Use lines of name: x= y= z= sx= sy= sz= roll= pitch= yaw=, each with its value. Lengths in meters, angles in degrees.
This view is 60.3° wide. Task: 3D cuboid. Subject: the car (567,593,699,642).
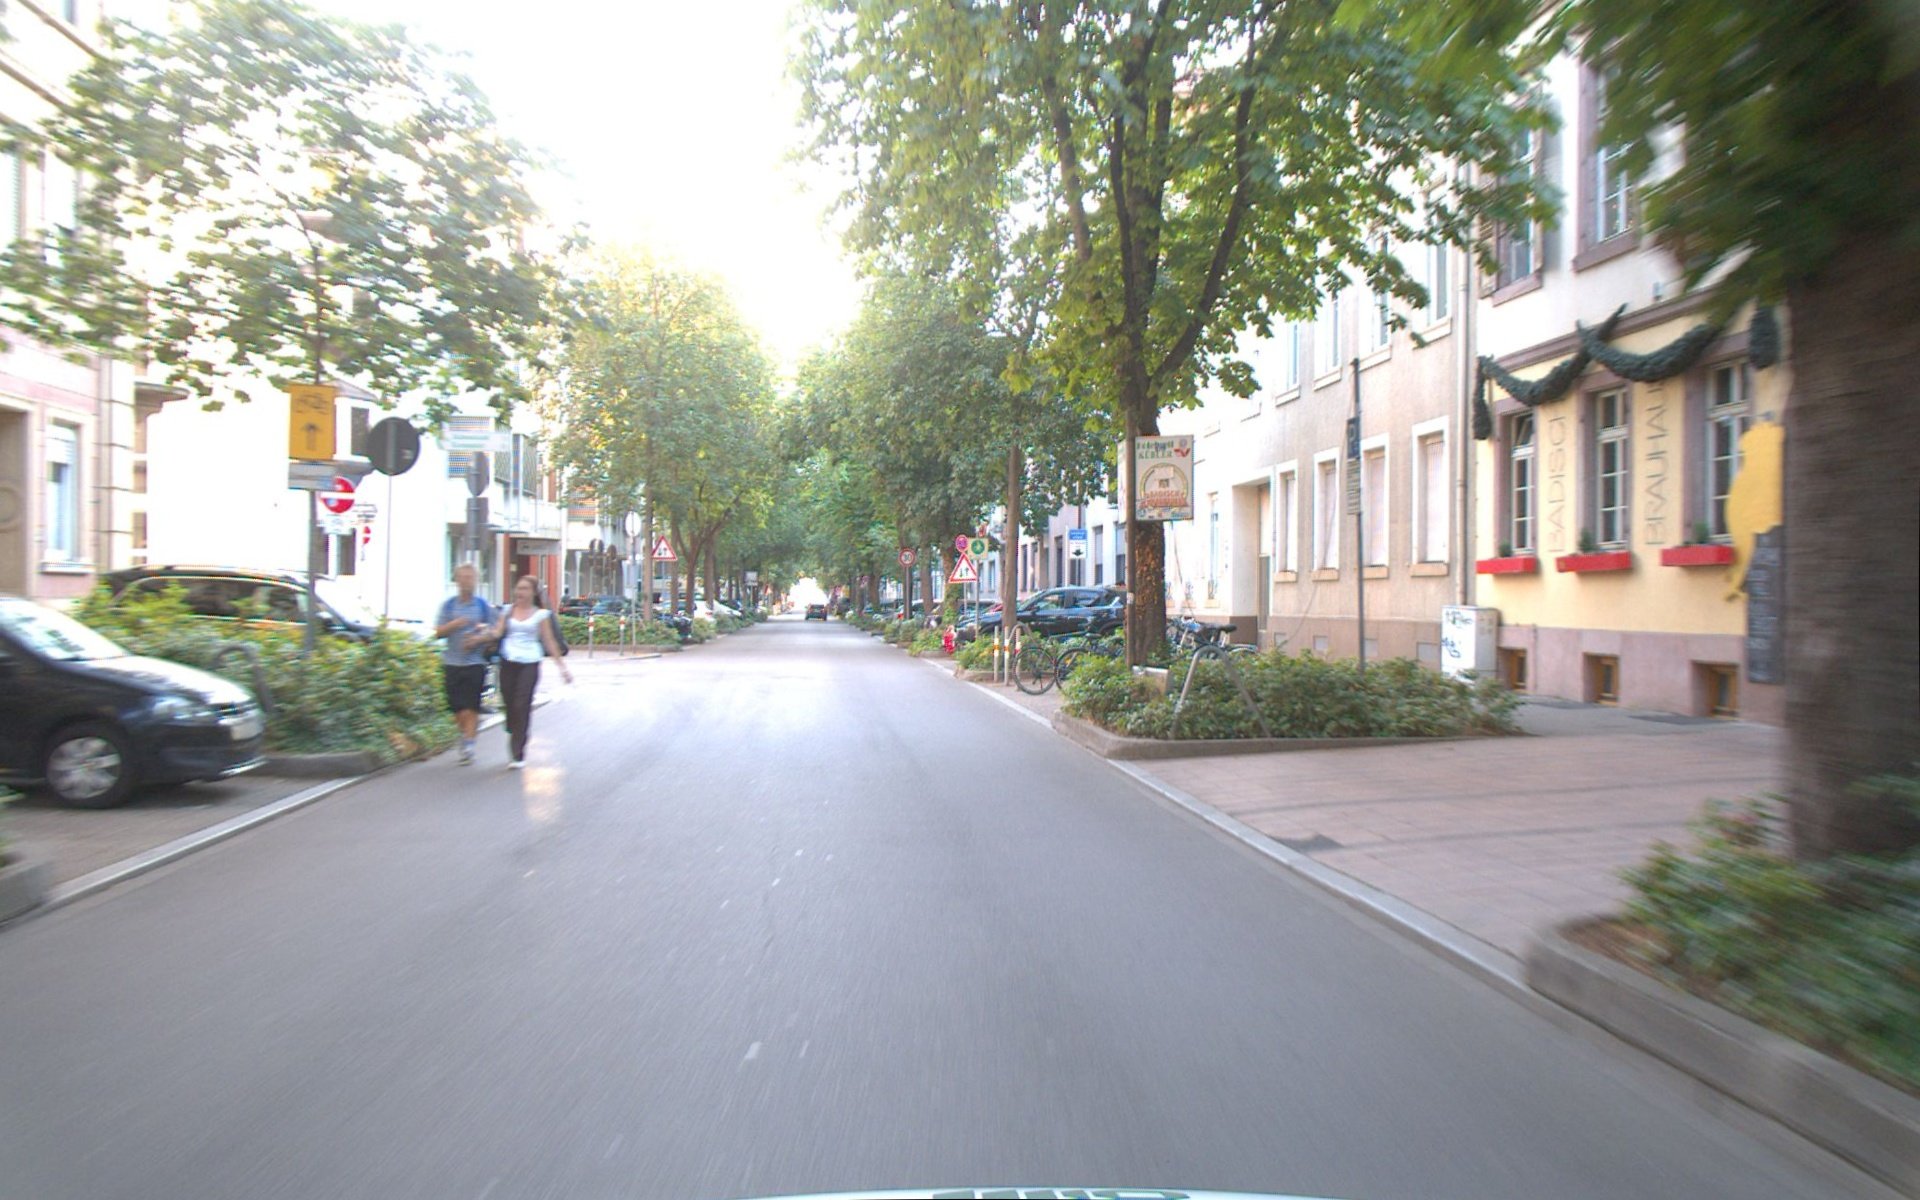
car: x=-10.606 y=0.567 z=53.883 sx=4.048 sy=1.512 sz=1.927 roll=1 pitch=0 yaw=-6

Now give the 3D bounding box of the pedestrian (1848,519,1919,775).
pedestrian: x=6.833 y=0.313 z=11.800 sx=0.603 sy=1.769 sz=0.623 roll=-2 pitch=1 yaw=-5

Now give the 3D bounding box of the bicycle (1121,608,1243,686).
bicycle: x=3.486 y=0.727 z=25.980 sx=1.764 sy=1.163 sz=0.666 roll=-1 pitch=0 yaw=-15

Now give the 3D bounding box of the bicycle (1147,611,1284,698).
bicycle: x=3.560 y=0.751 z=23.103 sx=1.762 sy=1.148 sz=0.662 roll=-1 pitch=0 yaw=-11

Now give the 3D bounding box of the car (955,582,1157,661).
car: x=2.116 y=0.462 z=37.289 sx=4.338 sy=1.685 sz=1.898 roll=0 pitch=0 yaw=-4

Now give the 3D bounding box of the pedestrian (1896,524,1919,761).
pedestrian: x=7.577 y=0.309 z=12.350 sx=0.765 sy=1.769 sz=0.680 roll=-2 pitch=1 yaw=-21

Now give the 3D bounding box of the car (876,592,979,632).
car: x=-1.506 y=0.533 z=75.620 sx=4.624 sy=1.740 sz=1.948 roll=0 pitch=1 yaw=-4

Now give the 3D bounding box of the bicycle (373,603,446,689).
bicycle: x=-7.353 y=0.617 z=22.157 sx=0.512 sy=1.077 sz=1.858 roll=3 pitch=-2 yaw=-7

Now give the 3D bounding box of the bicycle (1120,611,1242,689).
bicycle: x=3.377 y=0.751 z=25.281 sx=1.762 sy=1.127 sz=0.499 roll=-1 pitch=0 yaw=-11

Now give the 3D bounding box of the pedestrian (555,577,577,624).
pedestrian: x=-15.106 y=0.025 z=63.383 sx=0.689 sy=1.758 sz=0.904 roll=1 pitch=-1 yaw=-5

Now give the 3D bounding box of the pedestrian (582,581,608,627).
pedestrian: x=-14.191 y=0.145 z=64.317 sx=0.688 sy=1.788 sz=0.740 roll=0 pitch=-1 yaw=18

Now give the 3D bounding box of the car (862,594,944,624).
car: x=-3.113 y=0.497 z=90.889 sx=4.417 sy=1.548 sz=1.995 roll=-2 pitch=0 yaw=-2

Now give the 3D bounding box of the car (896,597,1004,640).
car: x=-0.395 y=0.678 z=61.795 sx=3.804 sy=1.465 sz=1.844 roll=-1 pitch=0 yaw=-9

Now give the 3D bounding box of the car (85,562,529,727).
car: x=-7.373 y=0.486 z=19.059 sx=4.339 sy=1.680 sz=1.871 roll=2 pitch=0 yaw=-5

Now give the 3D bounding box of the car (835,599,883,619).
car: x=-8.969 y=0.798 z=146.594 sx=4.186 sy=1.593 sz=1.960 roll=-2 pitch=0 yaw=-6

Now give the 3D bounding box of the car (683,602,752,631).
car: x=-15.059 y=1.011 z=103.021 sx=4.122 sy=1.664 sz=1.960 roll=-2 pitch=0 yaw=-6

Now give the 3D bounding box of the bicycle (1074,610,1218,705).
bicycle: x=2.467 y=0.754 z=22.080 sx=1.794 sy=1.199 sz=0.672 roll=-1 pitch=0 yaw=-7

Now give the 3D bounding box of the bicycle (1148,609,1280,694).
bicycle: x=3.671 y=0.736 z=23.934 sx=1.764 sy=1.163 sz=0.649 roll=-1 pitch=0 yaw=-14

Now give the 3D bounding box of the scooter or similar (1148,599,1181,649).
scooter or similar: x=4.939 y=0.576 z=40.008 sx=0.642 sy=1.173 sz=0.830 roll=-1 pitch=0 yaw=-5

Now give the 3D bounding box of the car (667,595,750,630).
car: x=-14.479 y=0.719 z=95.329 sx=4.592 sy=1.886 sz=1.960 roll=-2 pitch=0 yaw=-6

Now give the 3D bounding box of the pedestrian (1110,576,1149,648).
pedestrian: x=4.202 y=0.292 z=41.038 sx=0.684 sy=1.767 sz=0.665 roll=-1 pitch=0 yaw=-37

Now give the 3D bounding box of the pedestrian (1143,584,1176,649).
pedestrian: x=4.889 y=0.393 z=40.601 sx=0.642 sy=1.563 sz=0.830 roll=-1 pitch=0 yaw=-5

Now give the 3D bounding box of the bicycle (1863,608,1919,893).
bicycle: x=5.122 y=0.637 z=7.533 sx=1.765 sy=1.254 sz=0.671 roll=-3 pitch=0 yaw=-15

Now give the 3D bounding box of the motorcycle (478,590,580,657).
motorcycle: x=-9.936 y=0.543 z=38.151 sx=2.179 sy=1.507 sz=0.853 roll=1 pitch=1 yaw=-24

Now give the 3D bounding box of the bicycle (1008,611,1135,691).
bicycle: x=1.711 y=0.771 z=25.442 sx=1.807 sy=1.155 sz=0.742 roll=-1 pitch=0 yaw=-16

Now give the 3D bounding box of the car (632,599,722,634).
car: x=-12.751 y=0.727 z=74.726 sx=3.794 sy=1.512 sz=1.755 roll=1 pitch=0 yaw=-4

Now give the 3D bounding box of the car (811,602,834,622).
car: x=-11.790 y=1.006 z=141.563 sx=1.918 sy=1.593 sz=4.277 roll=-2 pitch=0 yaw=-5

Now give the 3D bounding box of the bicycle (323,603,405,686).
bicycle: x=-7.941 y=0.593 z=22.088 sx=0.512 sy=1.037 sz=1.859 roll=3 pitch=-2 yaw=-5

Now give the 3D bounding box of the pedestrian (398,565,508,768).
pedestrian: x=-4.541 y=0.578 z=14.862 sx=0.779 sy=1.767 sz=0.830 roll=-1 pitch=0 yaw=-6

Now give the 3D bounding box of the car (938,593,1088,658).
car: x=1.267 y=0.591 z=40.530 sx=3.418 sy=1.478 sz=1.896 roll=-1 pitch=0 yaw=-8

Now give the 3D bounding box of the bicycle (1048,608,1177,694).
bicycle: x=2.226 y=0.744 z=24.269 sx=1.794 sy=1.199 sz=0.600 roll=-1 pitch=0 yaw=-7

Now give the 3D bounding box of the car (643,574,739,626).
car: x=-13.474 y=0.001 z=82.944 sx=4.591 sy=2.521 sz=1.998 roll=0 pitch=-1 yaw=-6

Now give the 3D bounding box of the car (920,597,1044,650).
car: x=0.631 y=0.677 z=49.023 sx=3.418 sy=1.478 sz=1.896 roll=-1 pitch=0 yaw=-8

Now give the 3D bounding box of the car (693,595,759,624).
car: x=-17.248 y=0.677 z=122.027 sx=4.670 sy=2.019 sz=1.960 roll=-2 pitch=0 yaw=-6

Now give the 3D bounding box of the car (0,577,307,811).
car: x=-6.809 y=0.594 z=11.730 sx=3.621 sy=1.484 sz=1.870 roll=2 pitch=0 yaw=-6

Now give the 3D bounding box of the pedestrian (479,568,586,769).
pedestrian: x=-3.740 y=0.582 z=14.522 sx=0.779 sy=1.700 sz=0.830 roll=-1 pitch=0 yaw=-6

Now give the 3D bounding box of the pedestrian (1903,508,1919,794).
pedestrian: x=6.327 y=0.307 z=10.071 sx=0.696 sy=1.769 sz=0.722 roll=-2 pitch=1 yaw=-22
